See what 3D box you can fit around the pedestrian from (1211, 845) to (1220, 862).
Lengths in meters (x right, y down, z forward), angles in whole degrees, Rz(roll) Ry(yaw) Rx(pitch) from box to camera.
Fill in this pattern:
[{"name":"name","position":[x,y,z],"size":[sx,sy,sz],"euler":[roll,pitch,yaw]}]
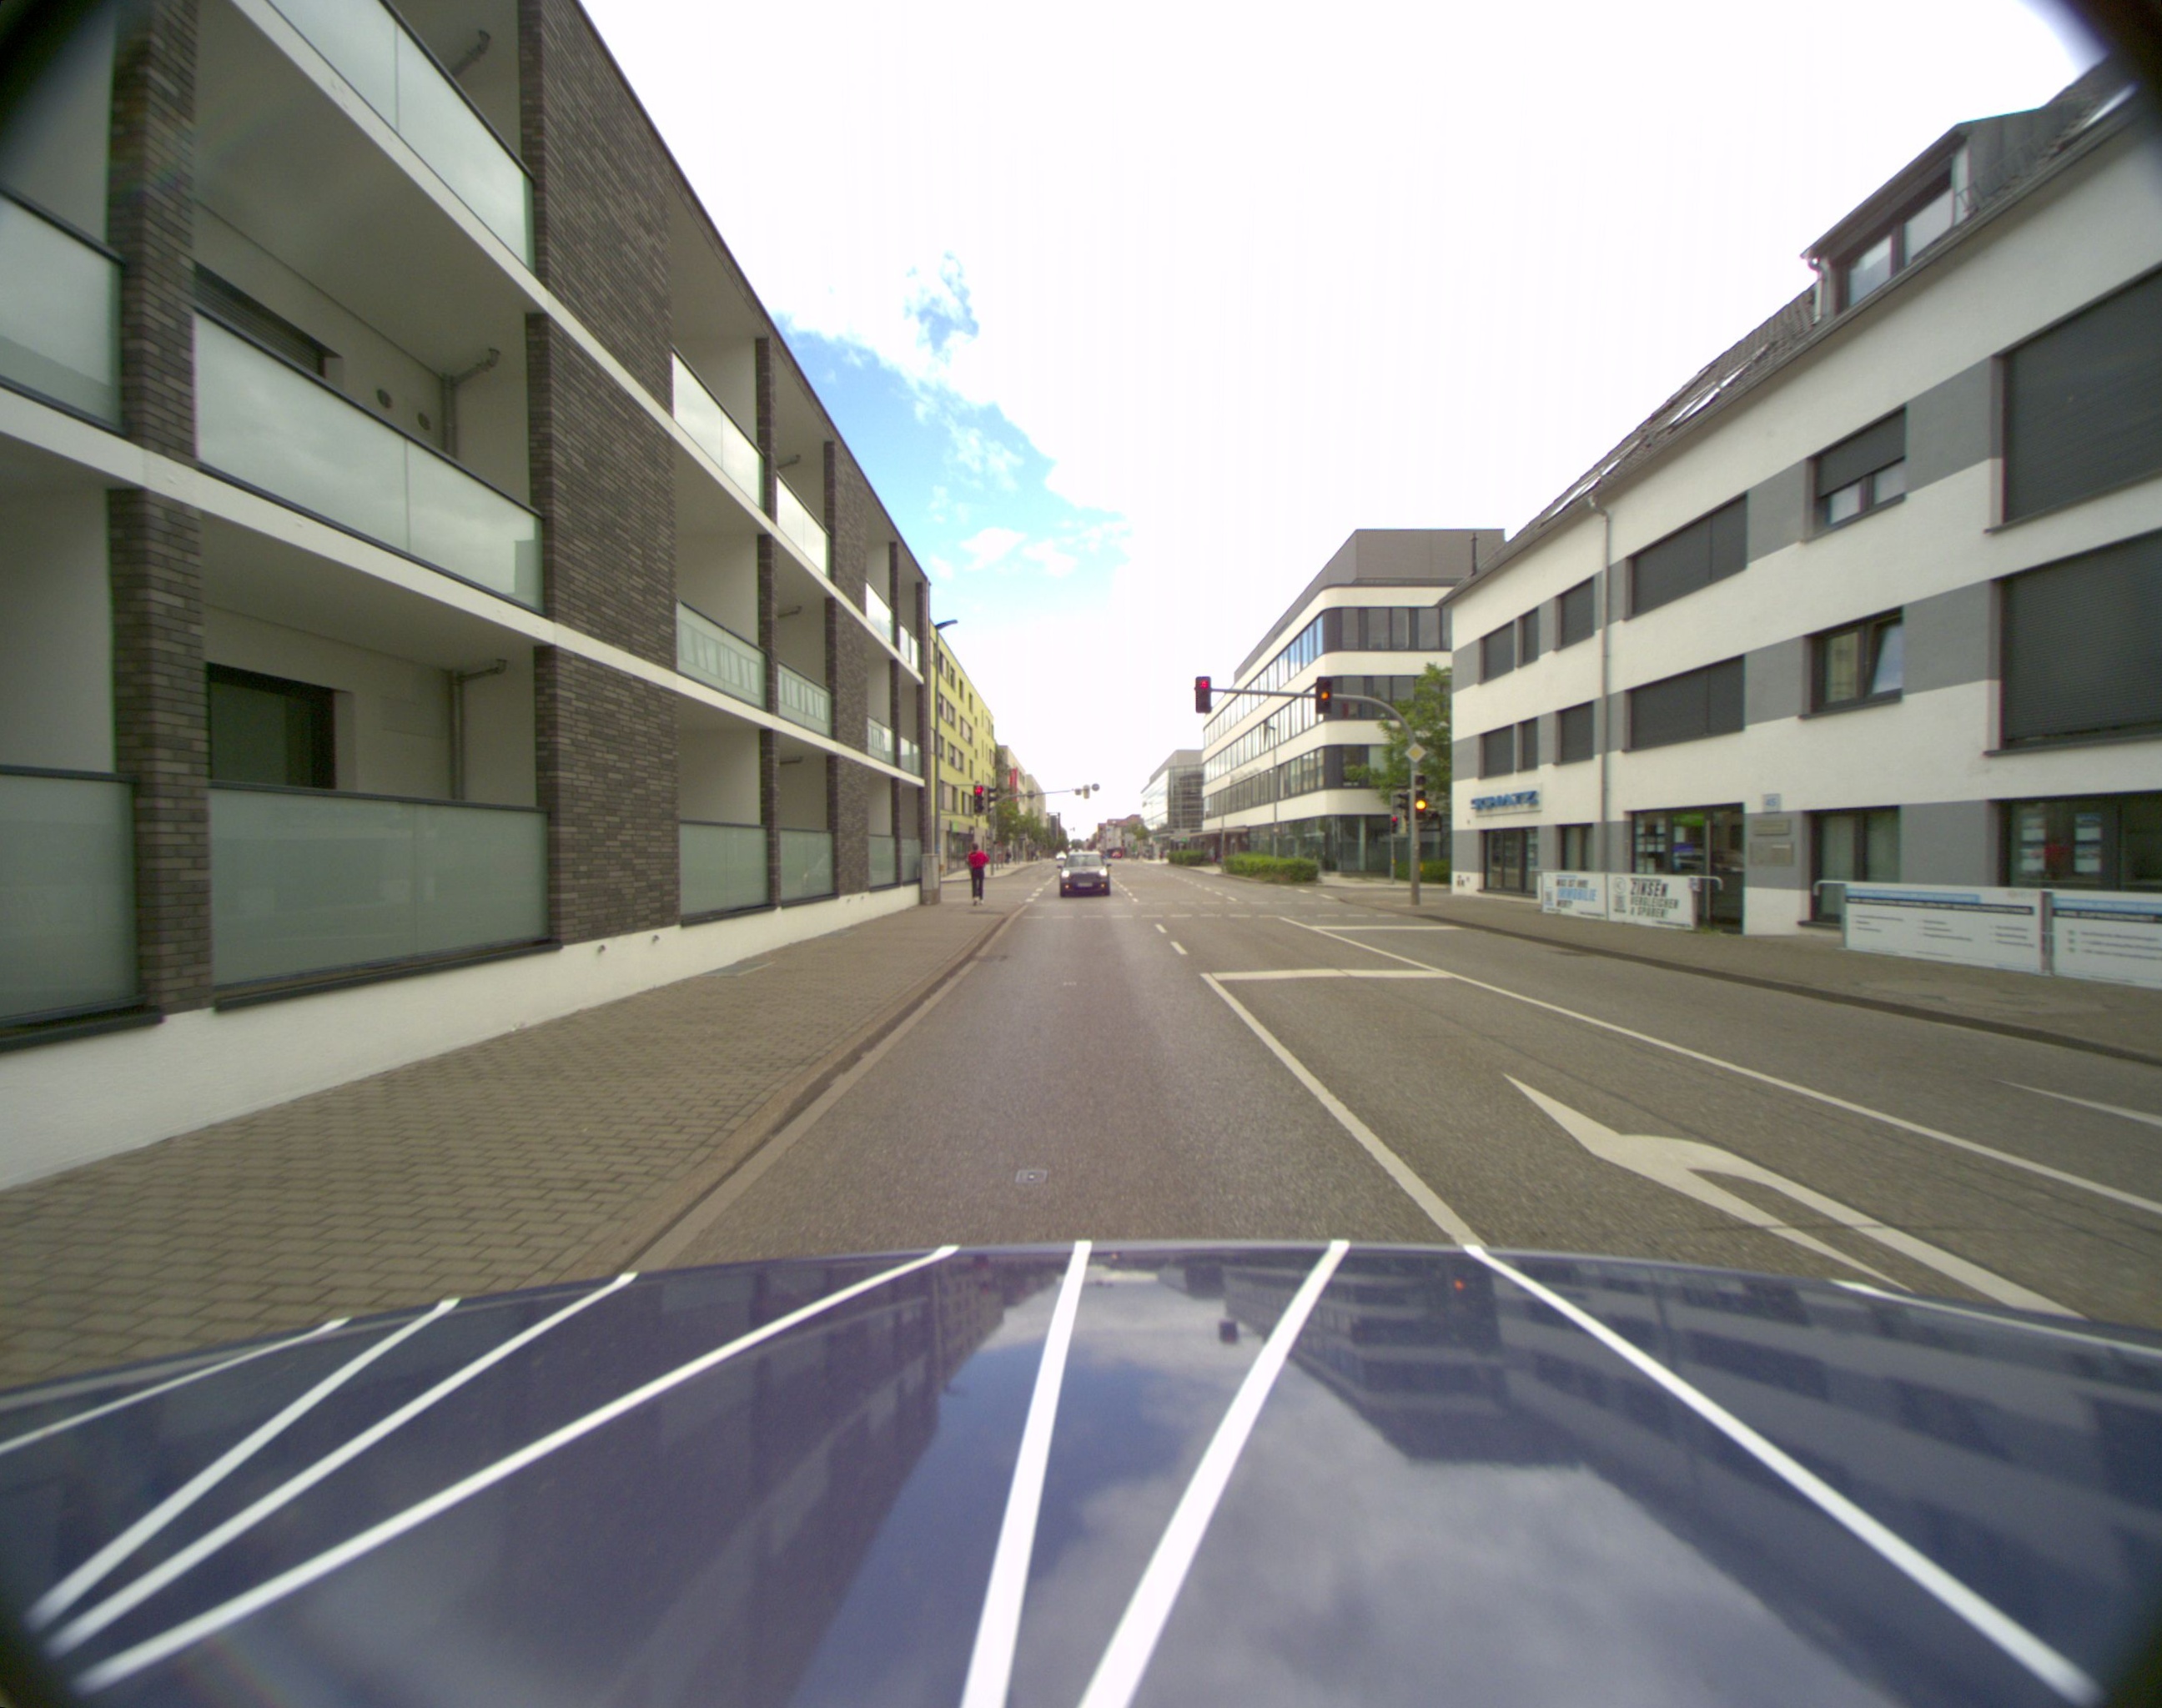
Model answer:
[{"name":"pedestrian","position":[13.347,-0.081,75.401],"size":[0.616,1.700,0.505],"euler":[-2,1,-30]}]

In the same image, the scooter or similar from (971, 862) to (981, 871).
[{"name":"scooter or similar","position":[-7.633,0.912,55.169],"size":[0.593,0.669,0.824],"euler":[0,1,-1]}]

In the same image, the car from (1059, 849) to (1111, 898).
[{"name":"car","position":[0.212,0.651,28.241],"size":[1.691,1.551,4.744],"euler":[-2,1,2]}]

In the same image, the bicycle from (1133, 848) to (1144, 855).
[{"name":"bicycle","position":[10.611,-0.385,140.579],"size":[2.025,1.199,0.749],"euler":[-3,1,44]}]

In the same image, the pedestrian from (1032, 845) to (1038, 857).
[{"name":"pedestrian","position":[-6.447,-0.449,105.548],"size":[0.722,1.674,0.733],"euler":[0,1,5]}]

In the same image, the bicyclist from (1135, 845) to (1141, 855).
[{"name":"bicyclist","position":[10.588,-0.701,140.569],"size":[0.772,1.790,0.749],"euler":[-3,1,44]}]

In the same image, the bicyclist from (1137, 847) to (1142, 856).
[{"name":"bicyclist","position":[10.643,-0.504,137.919],"size":[0.783,1.639,0.639],"euler":[-3,1,15]}]

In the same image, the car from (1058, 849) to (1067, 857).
[{"name":"car","position":[-3.696,-0.287,154.283],"size":[1.741,1.533,4.789],"euler":[-3,1,0]}]

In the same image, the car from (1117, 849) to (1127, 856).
[{"name":"car","position":[9.709,-0.354,180.080],"size":[1.901,1.407,4.470],"euler":[-3,1,0]}]

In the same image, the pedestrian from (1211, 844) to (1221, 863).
[{"name":"pedestrian","position":[12.098,-0.058,68.242],"size":[0.732,1.664,0.931],"euler":[-3,1,2]}]

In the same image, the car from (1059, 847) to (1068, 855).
[{"name":"car","position":[-3.392,-0.557,148.336],"size":[1.787,1.417,4.513],"euler":[-2,1,-1]}]

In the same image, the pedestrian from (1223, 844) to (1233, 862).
[{"name":"pedestrian","position":[13.074,-0.096,67.618],"size":[0.732,1.604,0.931],"euler":[-3,1,2]}]

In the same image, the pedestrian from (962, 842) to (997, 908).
[{"name":"pedestrian","position":[-2.820,0.576,21.243],"size":[0.809,1.776,0.861],"euler":[1,1,1]}]

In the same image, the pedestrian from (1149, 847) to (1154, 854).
[{"name":"pedestrian","position":[10.975,-0.547,118.172],"size":[0.686,1.069,0.576],"euler":[1,1,-1]}]

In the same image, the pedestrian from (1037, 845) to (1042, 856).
[{"name":"pedestrian","position":[-5.988,-0.491,109.850],"size":[0.580,1.581,0.733],"euler":[0,1,5]}]

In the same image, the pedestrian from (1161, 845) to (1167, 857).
[{"name":"pedestrian","position":[11.174,-0.396,102.284],"size":[0.832,1.558,0.813],"euler":[-2,1,5]}]

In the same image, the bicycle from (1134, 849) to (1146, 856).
[{"name":"bicycle","position":[10.656,-0.251,137.925],"size":[2.003,1.124,0.639],"euler":[-3,1,15]}]

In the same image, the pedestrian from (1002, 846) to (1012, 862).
[{"name":"pedestrian","position":[-7.526,0.019,77.371],"size":[0.949,1.574,1.015],"euler":[-1,1,-1]}]

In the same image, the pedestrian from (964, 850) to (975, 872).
[{"name":"pedestrian","position":[-7.977,0.479,54.437],"size":[0.697,1.584,0.603],"euler":[0,1,-1]}]
